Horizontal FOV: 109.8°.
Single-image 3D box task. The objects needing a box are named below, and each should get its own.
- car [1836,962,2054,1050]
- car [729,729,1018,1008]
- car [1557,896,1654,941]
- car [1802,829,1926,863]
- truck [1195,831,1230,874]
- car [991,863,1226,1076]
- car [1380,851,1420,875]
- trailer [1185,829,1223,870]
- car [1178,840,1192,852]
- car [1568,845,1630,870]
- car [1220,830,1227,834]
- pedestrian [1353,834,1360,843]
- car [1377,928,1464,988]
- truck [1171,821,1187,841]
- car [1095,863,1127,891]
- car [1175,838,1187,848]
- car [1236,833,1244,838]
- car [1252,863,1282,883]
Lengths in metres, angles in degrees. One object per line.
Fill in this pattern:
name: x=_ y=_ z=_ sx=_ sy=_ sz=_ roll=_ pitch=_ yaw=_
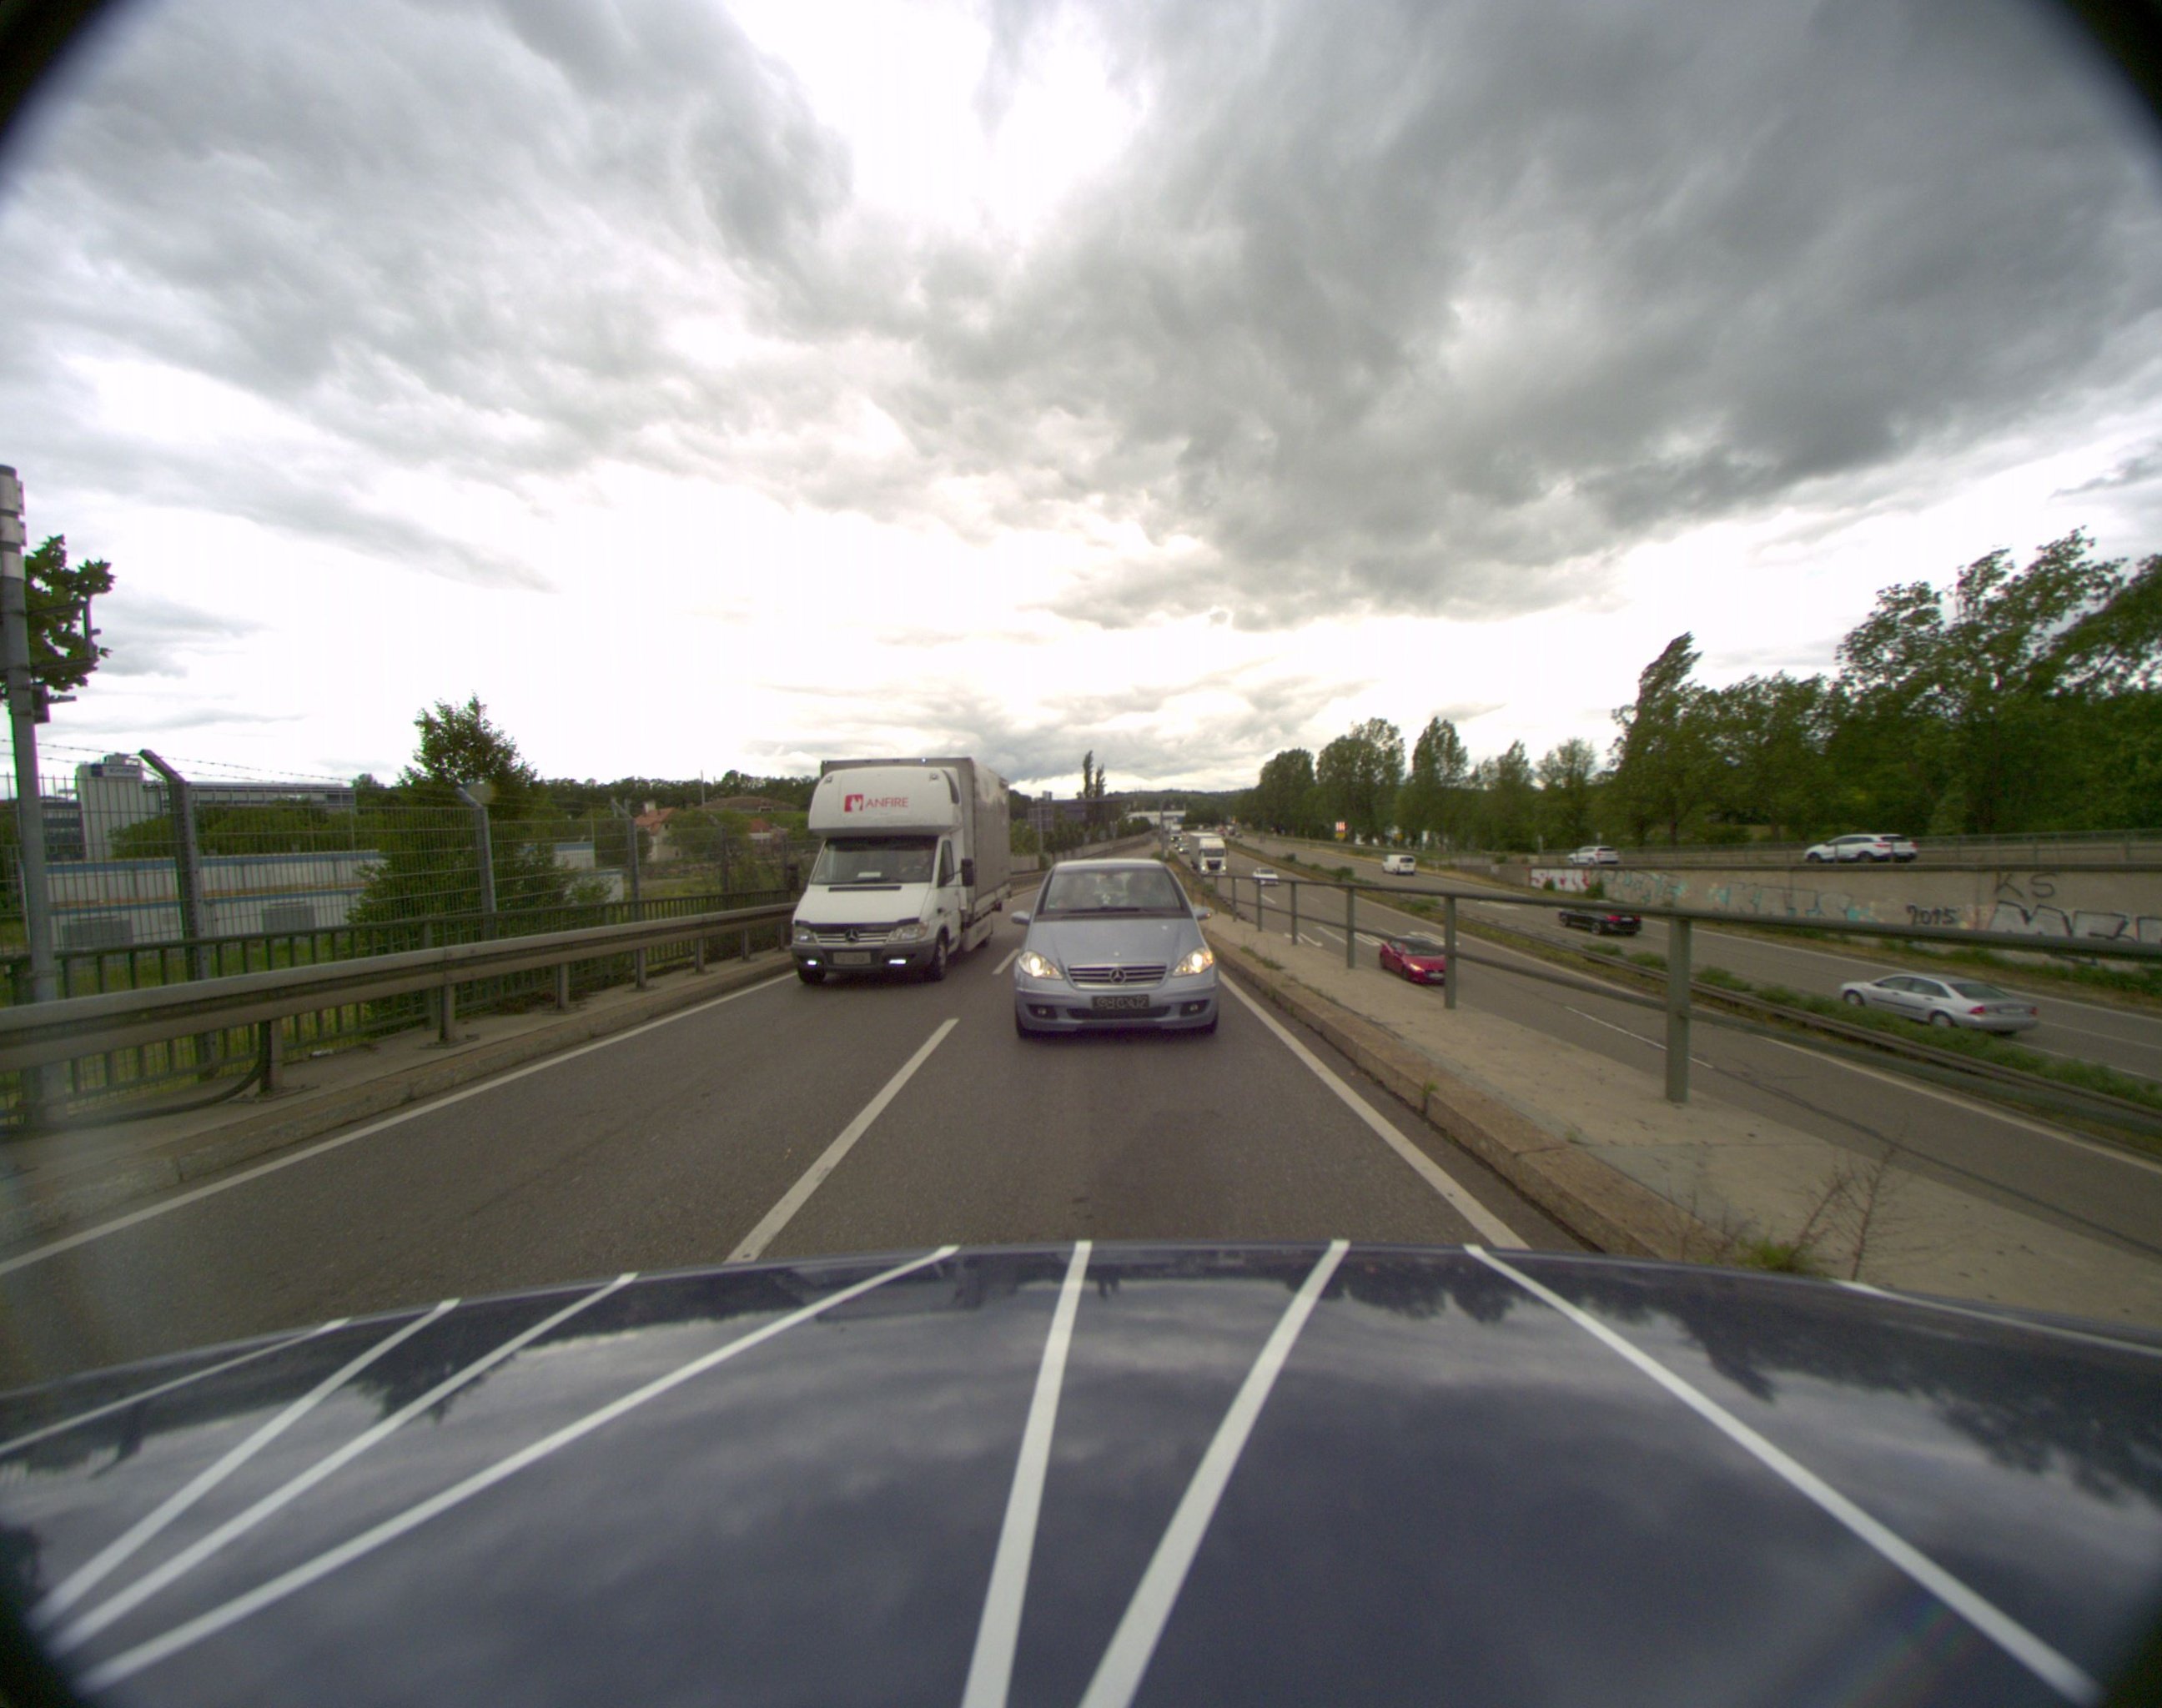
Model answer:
car: x=25.100 y=4.353 z=22.327 sx=1.733 sy=1.520 sz=4.085 roll=-1 pitch=3 yaw=1
car: x=-2.811 y=0.139 z=12.759 sx=2.665 sy=3.310 sz=7.090 roll=-2 pitch=1 yaw=1
car: x=27.404 y=3.323 z=39.925 sx=1.920 sy=1.729 sz=4.550 roll=-1 pitch=3 yaw=0
car: x=39.103 y=-0.365 z=38.127 sx=1.837 sy=1.567 sz=4.347 roll=-1 pitch=0 yaw=3
truck: x=13.866 y=-0.293 z=80.716 sx=2.758 sy=4.228 sz=6.695 roll=0 pitch=3 yaw=2
car: x=0.298 y=0.923 z=7.884 sx=1.780 sy=1.578 sz=4.001 roll=-1 pitch=0 yaw=3
car: x=32.826 y=0.899 z=78.325 sx=1.998 sy=2.056 sz=5.175 roll=-1 pitch=3 yaw=2
trailer: x=14.177 y=-0.724 z=88.609 sx=2.758 sy=4.228 sz=13.146 roll=0 pitch=3 yaw=2
car: x=16.966 y=-1.314 z=124.155 sx=1.858 sy=1.598 sz=4.164 roll=-1 pitch=3 yaw=2
car: x=40.016 y=0.269 z=58.822 sx=1.998 sy=1.859 sz=4.213 roll=-1 pitch=0 yaw=1
car: x=46.963 y=-7.257 z=250.243 sx=1.668 sy=1.493 sz=3.857 roll=0 pitch=3 yaw=3
pedestrian: x=52.409 y=-3.000 z=144.496 sx=0.831 sy=1.696 sz=1.077 roll=-2 pitch=4 yaw=3
car: x=13.041 y=3.958 z=29.499 sx=1.756 sy=1.433 sz=4.163 roll=-1 pitch=4 yaw=4
truck: x=24.290 y=-5.765 z=189.180 sx=3.179 sy=4.501 sz=11.121 roll=-1 pitch=3 yaw=4
car: x=1.899 y=1.414 z=47.350 sx=1.780 sy=1.578 sz=4.001 roll=-1 pitch=0 yaw=4
car: x=18.984 y=-2.131 z=144.110 sx=1.858 sy=1.598 sz=4.164 roll=2 pitch=3 yaw=2
car: x=47.848 y=-5.684 z=228.423 sx=1.715 sy=1.368 sz=4.109 roll=0 pitch=3 yaw=2
car: x=16.919 y=1.724 z=69.200 sx=1.919 sy=1.411 sz=4.275 roll=-1 pitch=4 yaw=4
